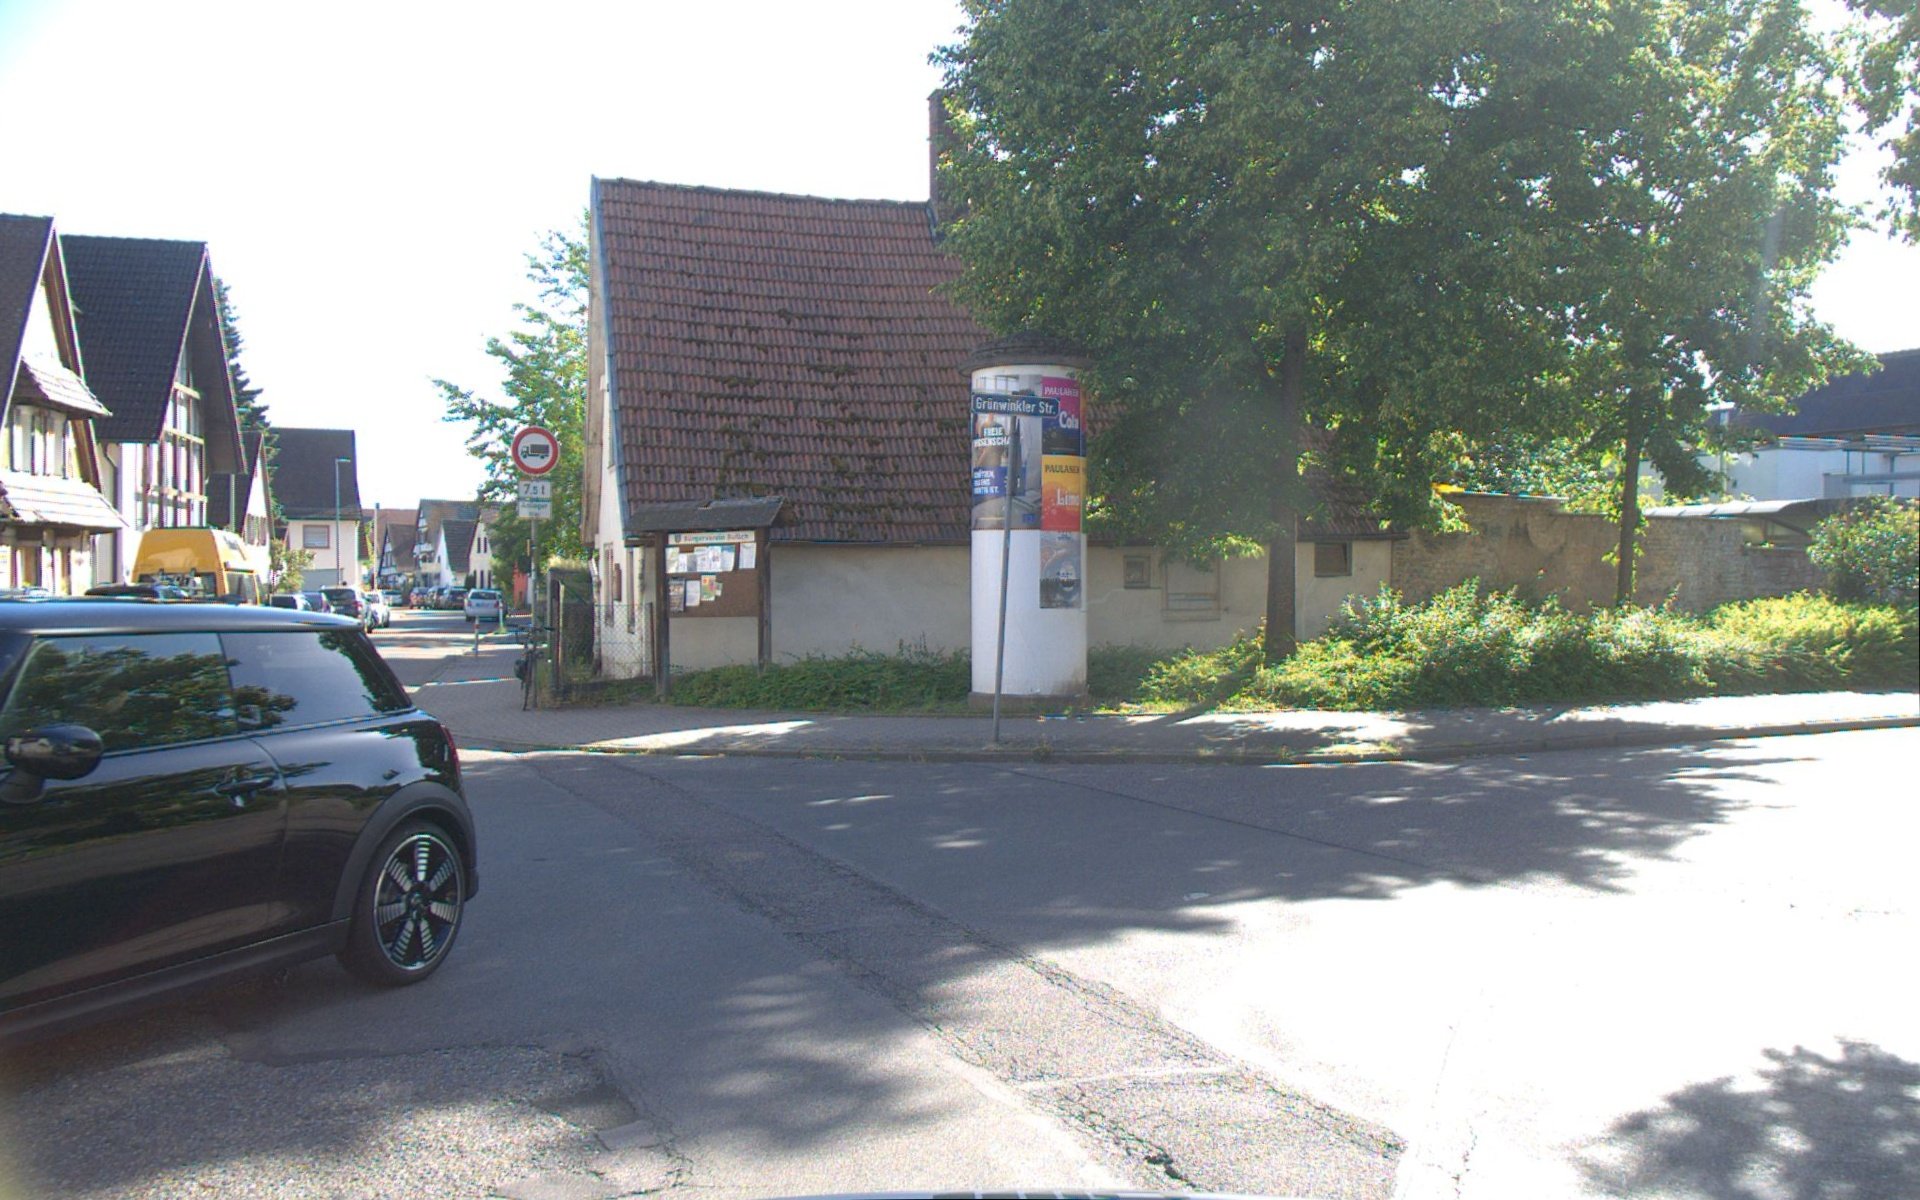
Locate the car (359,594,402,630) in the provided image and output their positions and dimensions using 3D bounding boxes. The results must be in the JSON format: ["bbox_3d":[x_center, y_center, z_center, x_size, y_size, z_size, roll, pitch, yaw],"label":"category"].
[{"bbox_3d":[-23.841,0.474,68.149,1.563,1.468,3.596,0,0,-18],"label":"car"}]

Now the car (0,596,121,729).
[{"bbox_3d":[-12.110,0.741,20.996,1.777,1.532,4.091,-1,0,-15],"label":"car"}]

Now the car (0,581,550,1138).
[{"bbox_3d":[-3.181,0.699,5.284,1.626,1.503,4.000,1,1,21],"label":"car"}]

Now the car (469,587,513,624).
[{"bbox_3d":[-23.129,0.255,81.444,1.943,1.744,3.974,0,0,-18],"label":"car"}]

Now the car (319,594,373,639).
[{"bbox_3d":[-20.972,0.538,56.605,1.563,1.468,3.596,0,0,-18],"label":"car"}]

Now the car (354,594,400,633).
[{"bbox_3d":[-22.429,0.502,63.743,1.563,1.468,3.596,0,0,-18],"label":"car"}]

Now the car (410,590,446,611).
[{"bbox_3d":[-41.994,0.010,130.558,1.952,1.610,3.955,0,0,-29],"label":"car"}]

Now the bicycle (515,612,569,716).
[{"bbox_3d":[-5.184,0.764,20.576,0.425,1.197,1.826,-1,0,-8],"label":"bicycle"}]

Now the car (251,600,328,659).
[{"bbox_3d":[-17.701,0.745,43.785,1.620,1.458,3.596,0,0,-18],"label":"car"}]

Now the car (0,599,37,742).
[{"bbox_3d":[-10.969,0.760,16.773,1.836,1.532,4.091,-1,0,-15],"label":"car"}]

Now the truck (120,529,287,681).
[{"bbox_3d":[-15.826,0.091,34.932,2.230,2.918,5.759,-1,0,-15],"label":"truck"}]

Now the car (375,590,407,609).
[{"bbox_3d":[-49.679,-0.028,144.325,1.952,1.610,3.955,0,0,-29],"label":"car"}]

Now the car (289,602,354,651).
[{"bbox_3d":[-18.611,0.743,48.333,1.563,1.359,3.596,0,0,-18],"label":"car"}]

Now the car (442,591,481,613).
[{"bbox_3d":[-36.689,0.152,121.750,1.952,1.610,3.955,0,0,-29],"label":"car"}]

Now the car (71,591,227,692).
[{"bbox_3d":[-14.413,0.694,29.592,1.777,1.650,3.865,-1,0,-15],"label":"car"}]
